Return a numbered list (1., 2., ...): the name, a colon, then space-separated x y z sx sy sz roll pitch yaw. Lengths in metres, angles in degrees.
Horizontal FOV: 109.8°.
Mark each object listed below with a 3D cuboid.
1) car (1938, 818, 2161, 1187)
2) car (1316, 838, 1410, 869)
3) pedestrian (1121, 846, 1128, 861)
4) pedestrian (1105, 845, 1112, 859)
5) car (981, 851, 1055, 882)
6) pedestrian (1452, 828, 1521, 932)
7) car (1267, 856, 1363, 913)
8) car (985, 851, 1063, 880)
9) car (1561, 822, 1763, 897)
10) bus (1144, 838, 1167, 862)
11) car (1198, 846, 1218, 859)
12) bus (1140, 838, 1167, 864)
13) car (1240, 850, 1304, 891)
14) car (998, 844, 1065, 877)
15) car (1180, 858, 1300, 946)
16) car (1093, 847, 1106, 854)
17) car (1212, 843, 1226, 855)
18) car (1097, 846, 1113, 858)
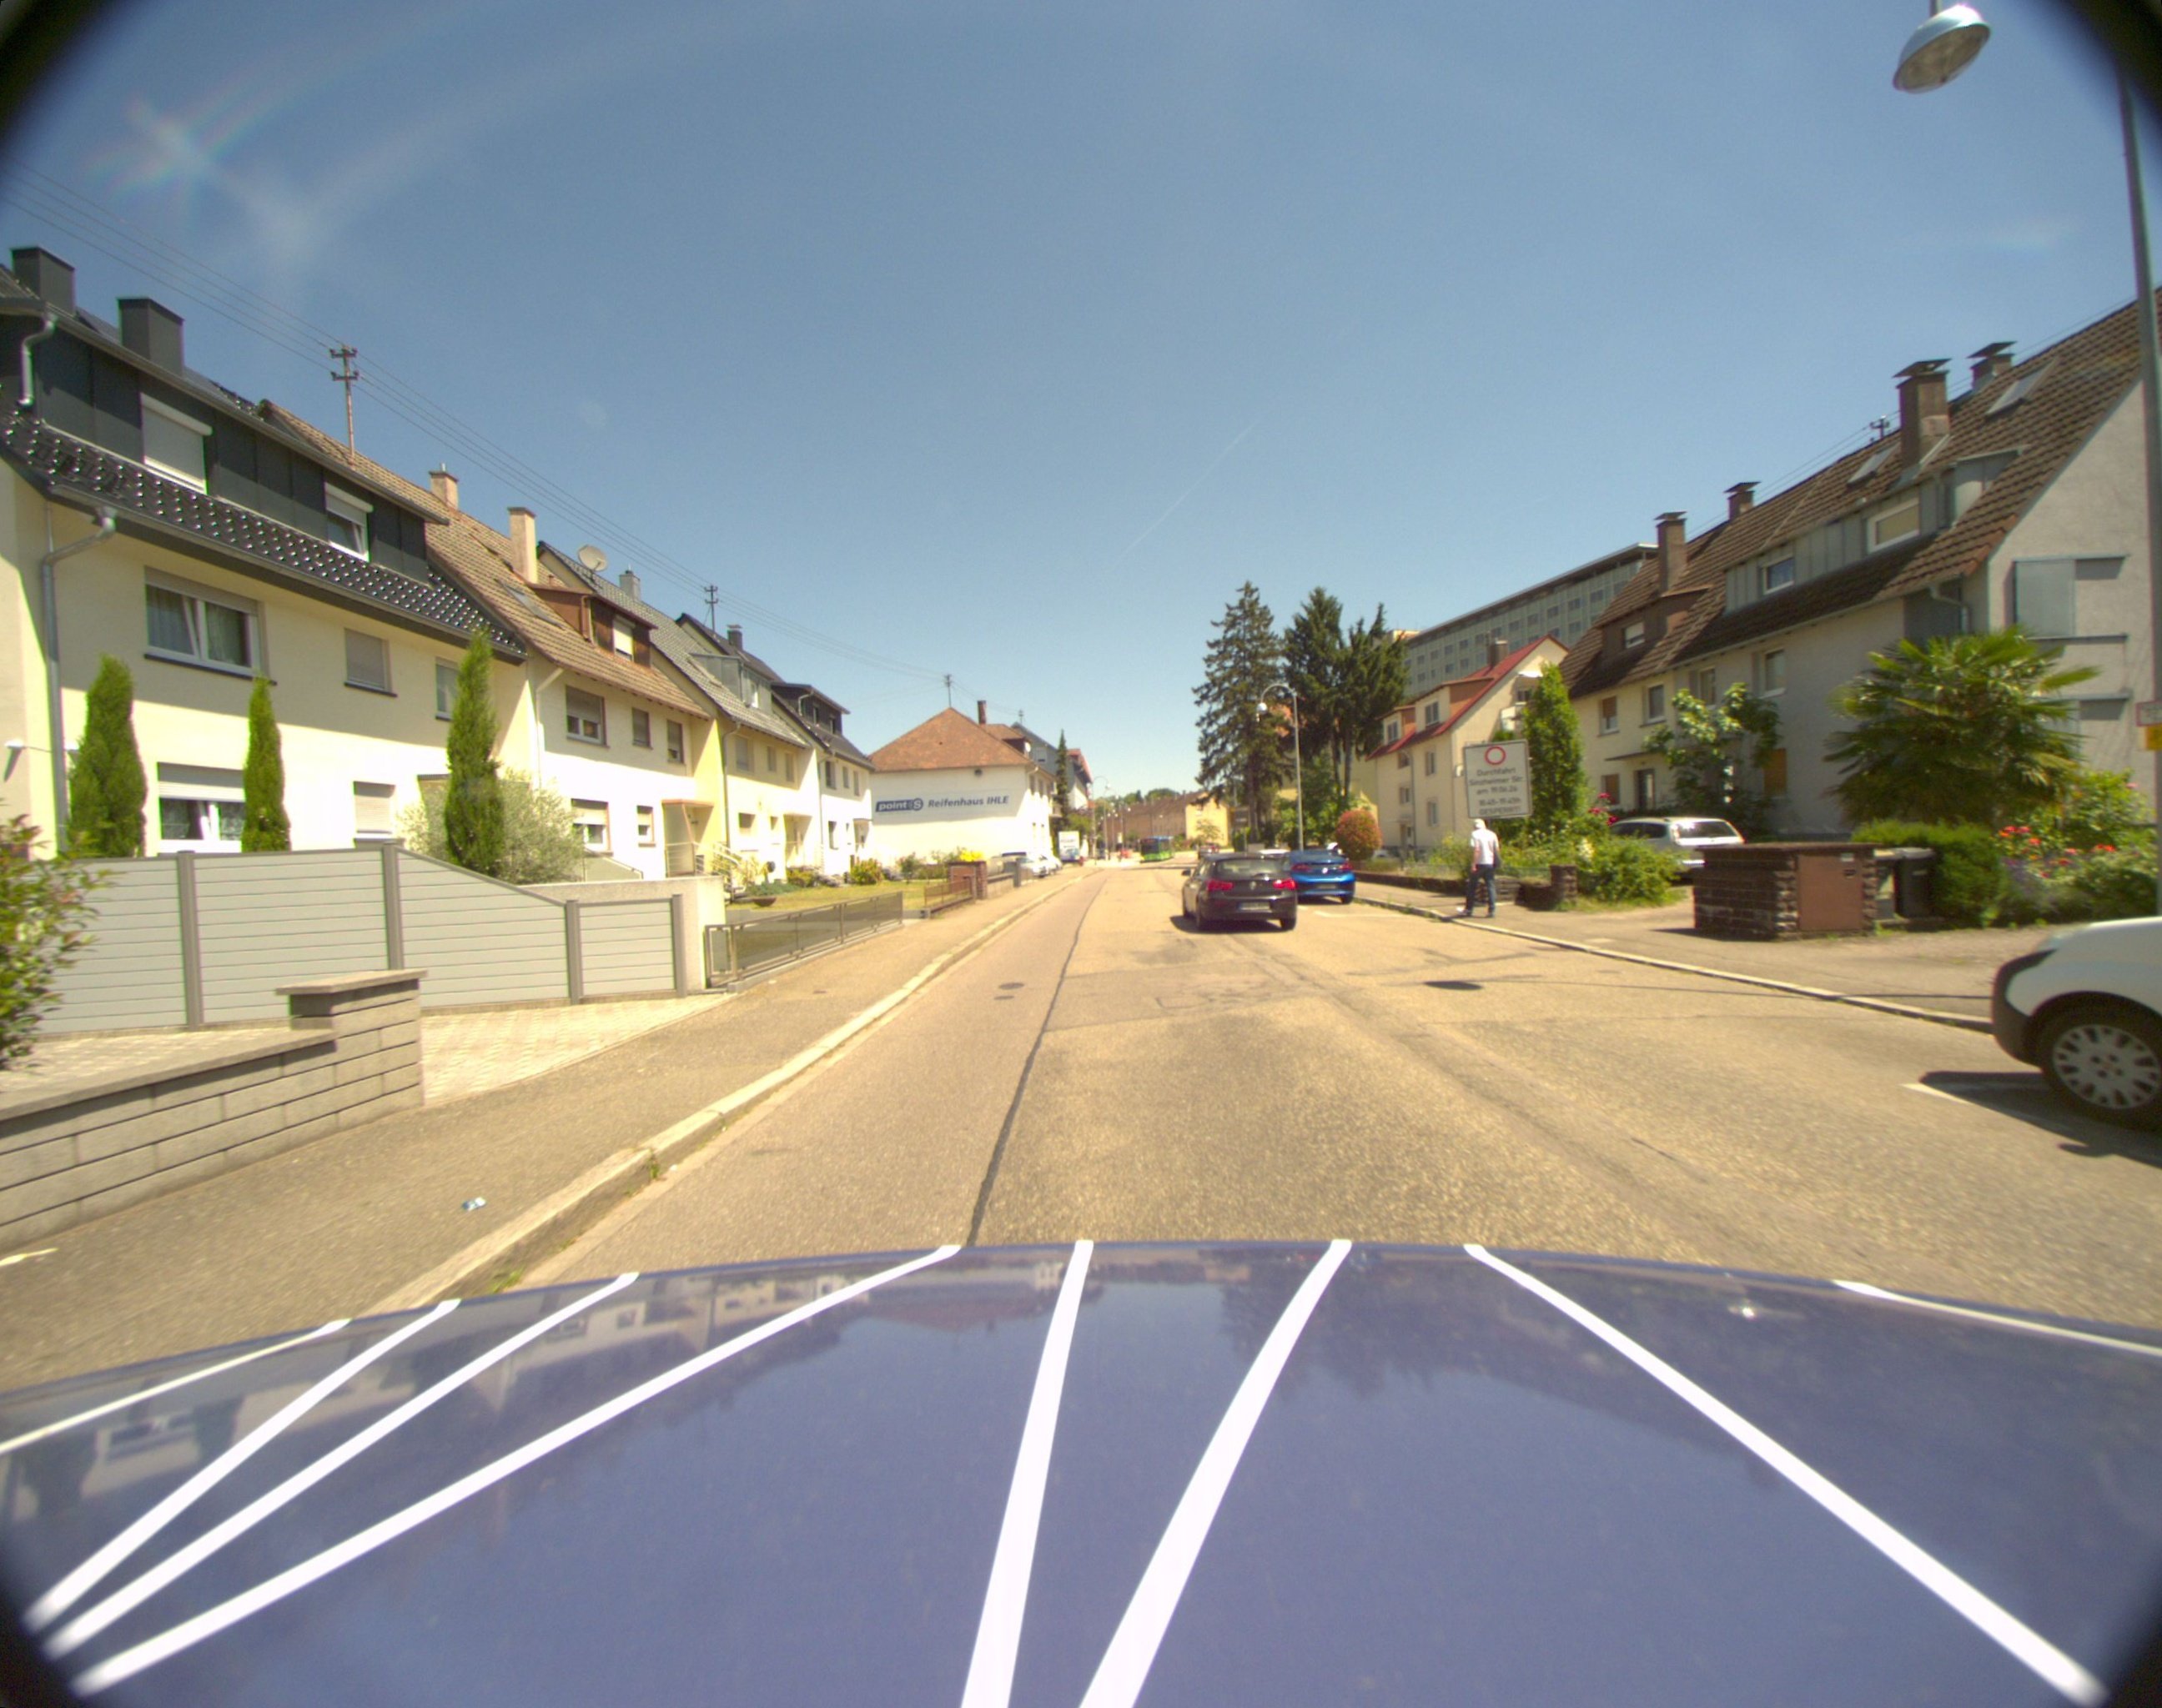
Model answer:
1. car: 5.907 0.699 2.539 1.727 1.726 3.887 0 0 1
2. car: 15.352 -0.046 41.602 4.477 1.433 1.848 -3 1 8
3. pedestrian: 5.254 -0.023 92.035 0.750 1.795 0.615 1 2 -9
4. pedestrian: 3.321 -0.263 90.884 0.614 1.606 0.751 0 1 22
5. car: -3.838 0.761 46.127 4.293 1.539 1.759 -4 2 37
6. pedestrian: 7.862 0.478 14.785 0.691 1.879 1.019 -7 1 7
7. car: 6.551 0.788 21.699 1.773 1.430 4.364 0 0 5
8. car: -3.663 0.736 49.101 4.649 1.400 1.770 -5 0 6
9. car: 13.983 0.033 18.671 1.773 1.500 4.361 -4 3 3
10. bus: 10.868 -0.638 109.415 2.927 3.044 12.567 -2 1 7
11. car: 15.037 -0.219 89.728 1.742 1.496 4.147 0 1 18
12. bus: 9.364 -0.437 96.910 2.909 3.062 12.567 -2 1 7
13. car: 6.924 0.565 27.851 1.582 1.415 3.941 0 0 3
14. car: -3.335 0.418 51.639 4.302 1.820 1.739 -5 0 -3
15. car: 2.984 0.837 15.031 1.736 1.409 4.000 -1 1 3
16. car: 3.625 -0.669 150.506 1.827 1.403 3.996 0 2 -9
17. car: 18.680 -0.619 102.798 1.809 1.480 4.391 -1 -1 11
18. car: 3.250 -0.265 101.578 1.761 1.505 3.742 1 1 6
